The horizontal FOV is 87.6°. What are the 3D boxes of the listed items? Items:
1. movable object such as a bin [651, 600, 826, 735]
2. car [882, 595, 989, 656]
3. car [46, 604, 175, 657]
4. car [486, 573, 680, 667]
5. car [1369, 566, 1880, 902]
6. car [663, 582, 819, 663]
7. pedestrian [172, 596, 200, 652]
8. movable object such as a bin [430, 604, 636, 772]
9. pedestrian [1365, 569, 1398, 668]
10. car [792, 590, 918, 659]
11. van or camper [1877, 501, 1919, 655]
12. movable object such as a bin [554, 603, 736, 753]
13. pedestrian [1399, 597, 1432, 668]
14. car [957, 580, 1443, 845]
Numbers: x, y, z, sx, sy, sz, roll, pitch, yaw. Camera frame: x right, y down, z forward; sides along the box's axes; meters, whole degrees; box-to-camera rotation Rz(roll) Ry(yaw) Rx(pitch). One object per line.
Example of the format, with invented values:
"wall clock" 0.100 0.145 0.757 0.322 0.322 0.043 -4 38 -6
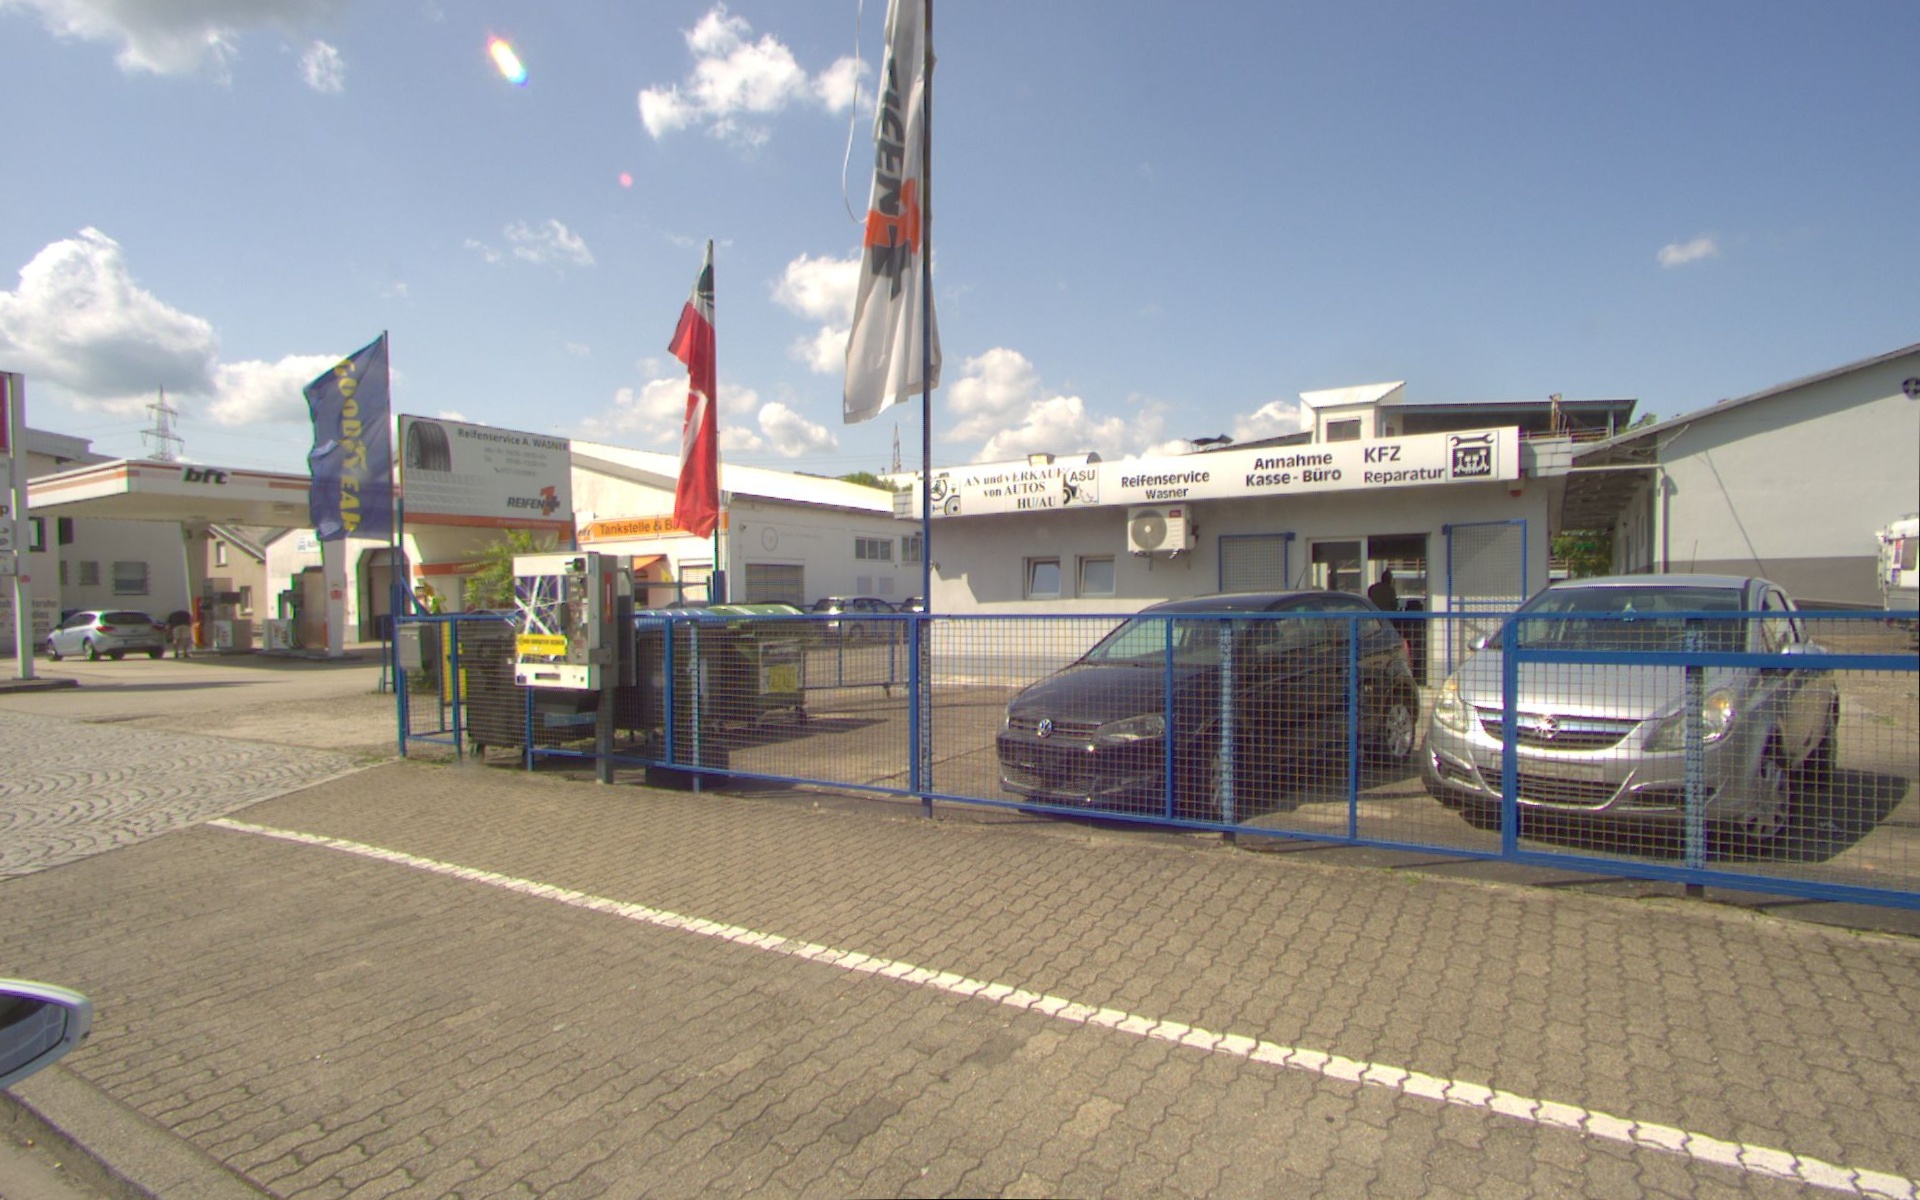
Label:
"movable object such as a bin" -2.613 0.742 11.900 1.433 1.473 1.427 0 1 31
"car" -0.811 0.861 35.878 1.971 2.040 3.979 0 0 32
"car" -25.841 0.888 30.435 3.950 1.499 1.829 -1 1 31
"car" -8.920 0.434 23.983 1.971 2.040 3.979 0 0 32
"car" 4.495 0.587 6.512 4.104 1.499 1.787 -1 0 -42
"car" -5.955 0.570 27.637 1.971 2.040 3.979 0 0 32
"pedestrian" -23.746 0.728 30.716 0.628 1.705 0.618 -1 1 -36
"movable object such as a bin" -4.139 0.783 9.746 1.434 1.473 1.224 0 1 31
"pedestrian" 7.398 0.324 17.577 0.480 1.710 0.499 0 1 30
"car" -3.271 0.726 31.988 1.971 2.040 3.979 0 0 32
"van or camper" 21.340 -0.460 19.321 4.983 3.002 2.276 0 1 31
"movable object such as a bin" -3.378 0.775 10.786 1.434 1.473 1.224 0 1 31
"pedestrian" 7.972 0.561 17.526 0.480 1.229 0.499 0 1 30
"car" 2.007 0.626 7.649 3.962 1.499 1.705 -1 1 -43
